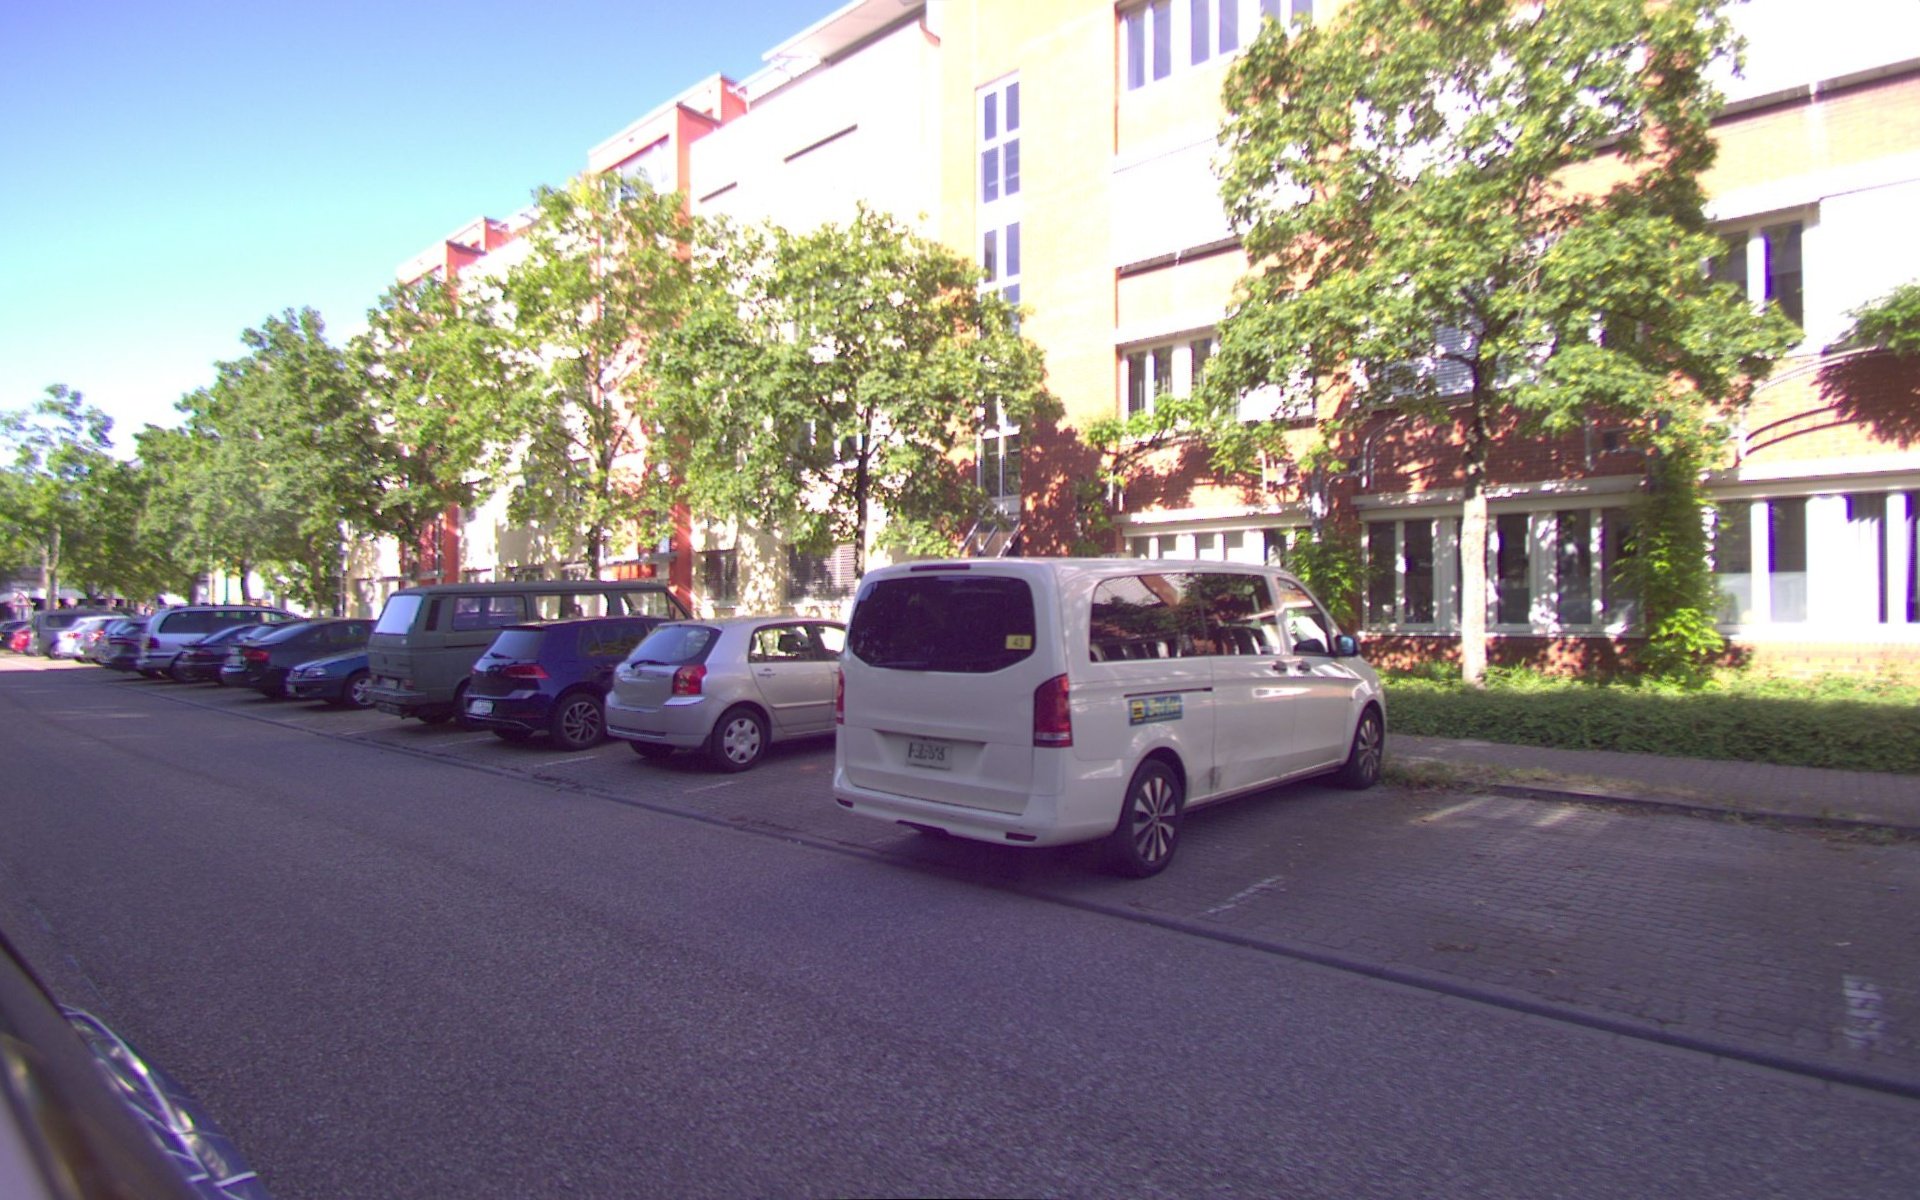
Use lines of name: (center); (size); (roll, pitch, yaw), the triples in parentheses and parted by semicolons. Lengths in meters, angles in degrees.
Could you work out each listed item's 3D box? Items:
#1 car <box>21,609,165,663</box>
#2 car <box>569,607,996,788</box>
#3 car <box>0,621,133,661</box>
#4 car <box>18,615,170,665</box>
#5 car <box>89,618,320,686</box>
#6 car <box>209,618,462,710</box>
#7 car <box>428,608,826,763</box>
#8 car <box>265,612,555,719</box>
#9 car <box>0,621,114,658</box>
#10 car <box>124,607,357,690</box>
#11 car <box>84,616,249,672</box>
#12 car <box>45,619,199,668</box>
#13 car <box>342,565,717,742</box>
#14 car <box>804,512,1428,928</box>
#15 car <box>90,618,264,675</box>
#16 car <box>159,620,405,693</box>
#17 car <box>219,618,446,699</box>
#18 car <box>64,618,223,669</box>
car: (-32.083, 1.295, 37.513); (1.785, 1.825, 3.851); (-1, 0, 41)
car: (-1.744, 0.870, 11.010); (1.943, 1.488, 4.273); (-1, 0, 43)
car: (-35.830, 1.599, 40.620); (1.739, 1.434, 3.851); (-1, 0, 41)
car: (-30.436, 1.365, 35.654); (1.859, 1.586, 3.851); (-1, 0, 41)
car: (-18.858, 1.239, 25.418); (1.771, 1.438, 4.359); (-1, 0, 39)
car: (-11.563, 1.114, 18.909); (1.724, 1.438, 3.688); (-1, 0, 40)
car: (-3.954, 0.900, 12.552); (1.943, 1.488, 4.273); (-1, 0, 43)
car: (-9.410, 1.029, 17.574); (1.724, 1.539, 4.089); (-1, 0, 41)
car: (-39.410, 1.666, 43.748); (1.740, 1.434, 4.214); (-1, 0, 45)
car: (-17.035, 1.075, 24.071); (4.270, 1.730, 1.964); (-1, 0, -44)
car: (-24.308, 1.307, 31.086); (1.858, 1.520, 3.688); (-1, 0, 40)
car: (-28.186, 1.422, 34.133); (1.873, 1.458, 3.691); (-1, 0, 37)
car: (-5.962, 0.628, 14.404); (2.083, 2.105, 4.439); (-1, 0, 43)
car: (1.527, 0.554, 7.411); (1.943, 1.982, 5.201); (-1, 0, 42)
car: (-22.678, 1.305, 29.399); (1.839, 1.438, 3.688); (-1, 0, 40)
car: (-15.087, 1.191, 22.725); (1.756, 1.369, 4.277); (-1, 0, 40)
car: (-12.997, 1.137, 21.123); (1.724, 1.438, 3.688); (-1, 0, 40)
car: (-26.309, 1.371, 32.697); (1.857, 1.458, 3.691); (-1, 0, 37)
